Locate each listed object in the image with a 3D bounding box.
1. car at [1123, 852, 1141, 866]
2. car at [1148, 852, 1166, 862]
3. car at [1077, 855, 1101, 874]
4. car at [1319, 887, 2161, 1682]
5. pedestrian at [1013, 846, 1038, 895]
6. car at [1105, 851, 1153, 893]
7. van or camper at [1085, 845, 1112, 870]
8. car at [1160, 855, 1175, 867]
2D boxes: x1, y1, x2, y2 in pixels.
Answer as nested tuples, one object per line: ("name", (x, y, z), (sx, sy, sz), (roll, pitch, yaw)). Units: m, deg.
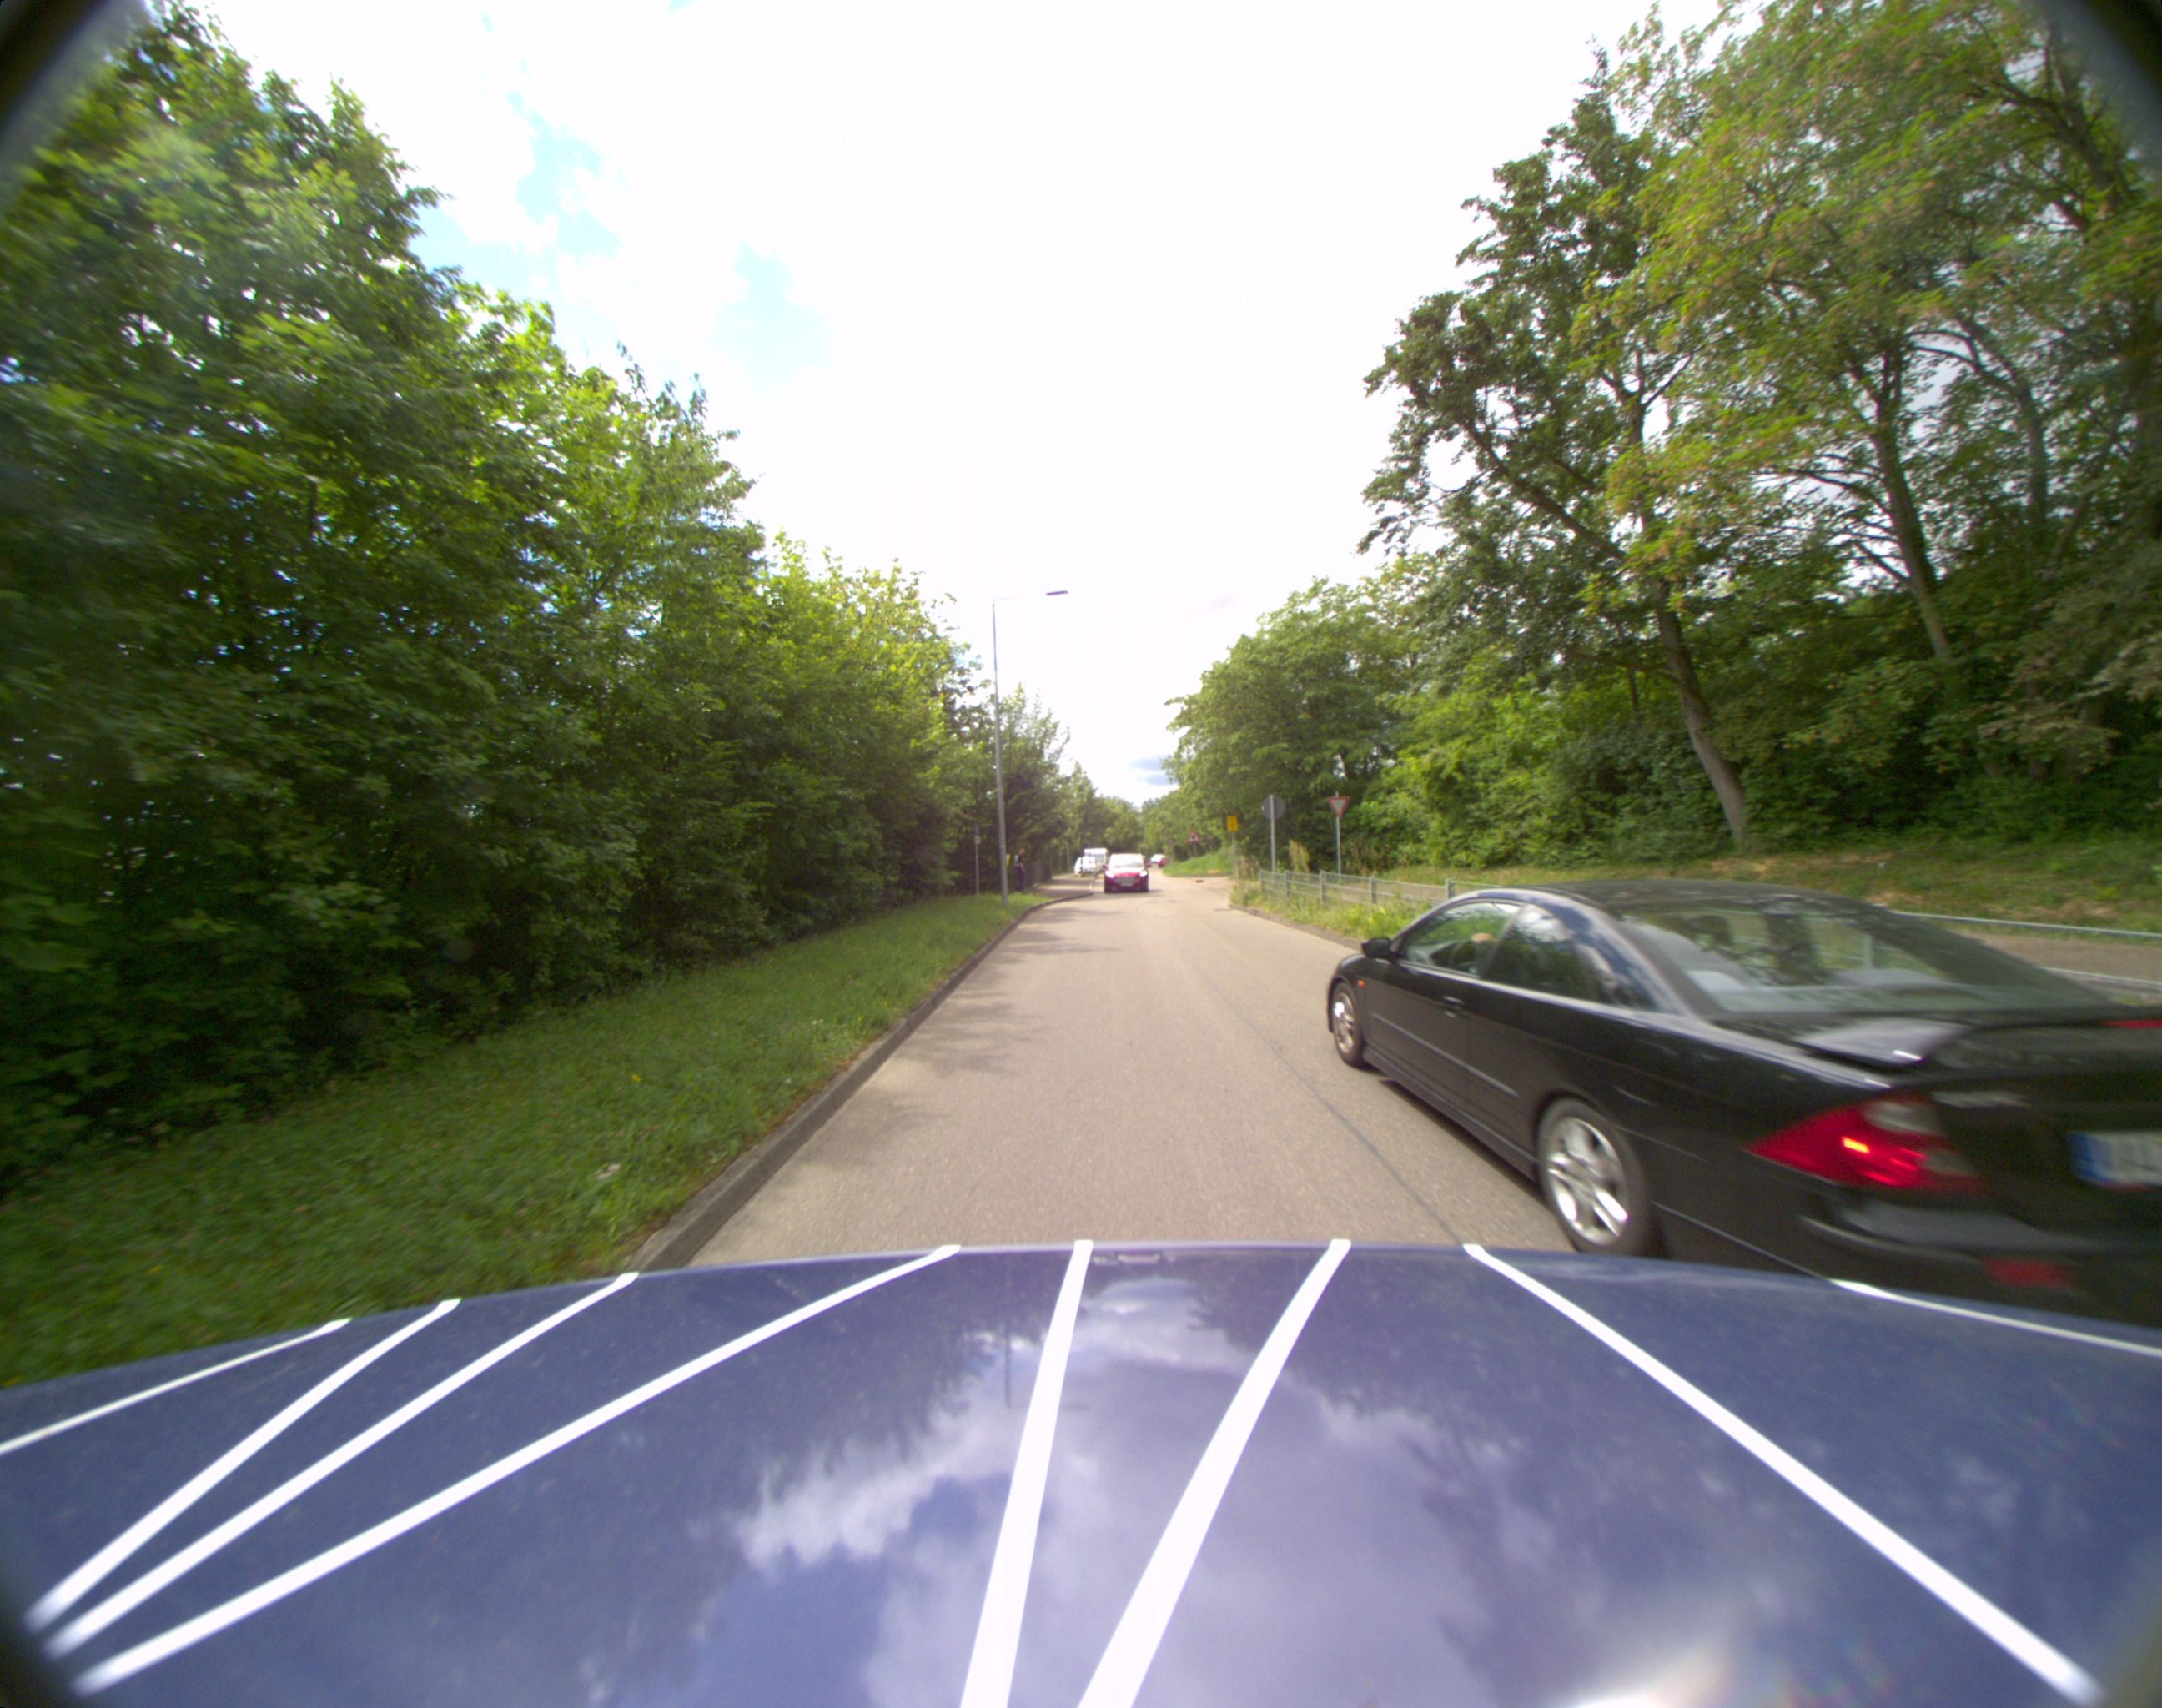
("car", (5.932, 0.582, 87.986), (1.795, 1.500, 4.115), (2, 1, 7))
("car", (13.029, 0.500, 129.602), (1.864, 1.469, 4.908), (1, 2, 20))
("car", (0.702, 0.875, 63.941), (1.809, 1.590, 4.373), (0, 0, 4))
("car", (2.565, 0.942, 3.528), (1.697, 1.341, 4.094), (-2, 0, 2))
("pedestrian", (-2.068, 0.609, 28.160), (0.683, 1.773, 0.587), (-2, 1, -36))
("car", (2.074, 0.764, 33.035), (1.911, 1.688, 4.388), (-1, -1, 3))
("van or camper", (1.796, 0.337, 77.425), (2.359, 2.539, 5.076), (0, 0, 5))
("car", (12.437, 0.929, 108.710), (1.846, 1.649, 4.225), (-1, 0, 10))
